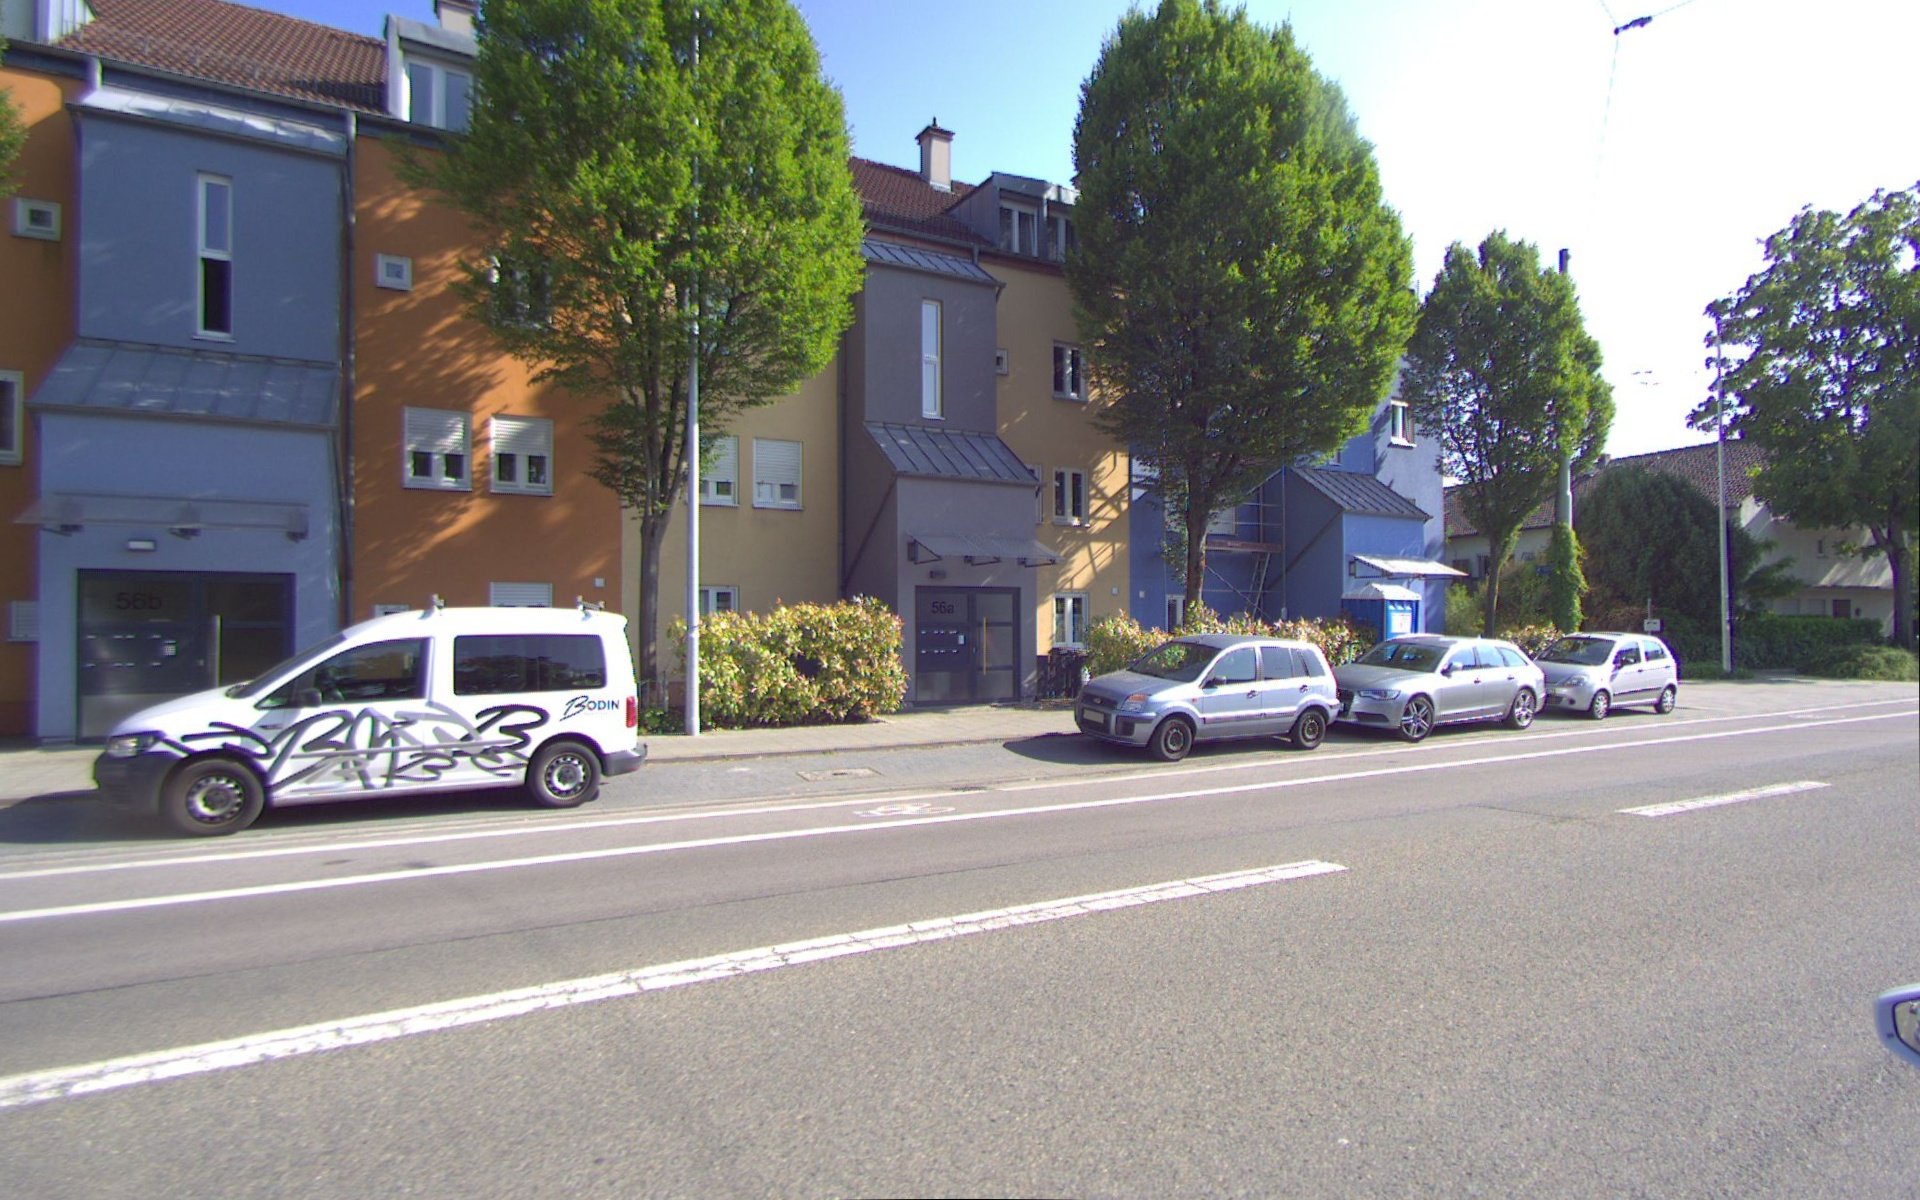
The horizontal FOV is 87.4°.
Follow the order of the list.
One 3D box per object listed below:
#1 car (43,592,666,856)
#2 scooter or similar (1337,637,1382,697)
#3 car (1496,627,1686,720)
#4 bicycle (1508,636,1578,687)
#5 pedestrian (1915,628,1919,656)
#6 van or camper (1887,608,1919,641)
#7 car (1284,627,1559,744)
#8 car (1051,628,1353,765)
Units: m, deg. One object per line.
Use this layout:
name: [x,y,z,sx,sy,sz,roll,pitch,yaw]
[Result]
car: [-5.247,0.939,9.330,4.527,1.871,1.754,1,3,-31]
scooter or similar: [7.998,1.333,20.090,1.032,1.169,0.292,1,-2,-34]
car: [12.090,1.335,19.226,3.467,1.515,1.593,1,3,-30]
bicycle: [13.767,1.449,23.703,1.759,1.169,0.442,1,-2,-23]
pedestrian: [42.834,1.854,44.610,0.385,1.233,0.444,0,-1,-21]
van or camper: [85.446,2.109,87.567,2.278,2.906,6.440,0,-1,-27]
car: [7.614,1.281,16.426,4.702,1.531,1.739,1,3,-32]
car: [3.412,1.236,14.094,3.932,1.560,1.755,1,3,-29]
